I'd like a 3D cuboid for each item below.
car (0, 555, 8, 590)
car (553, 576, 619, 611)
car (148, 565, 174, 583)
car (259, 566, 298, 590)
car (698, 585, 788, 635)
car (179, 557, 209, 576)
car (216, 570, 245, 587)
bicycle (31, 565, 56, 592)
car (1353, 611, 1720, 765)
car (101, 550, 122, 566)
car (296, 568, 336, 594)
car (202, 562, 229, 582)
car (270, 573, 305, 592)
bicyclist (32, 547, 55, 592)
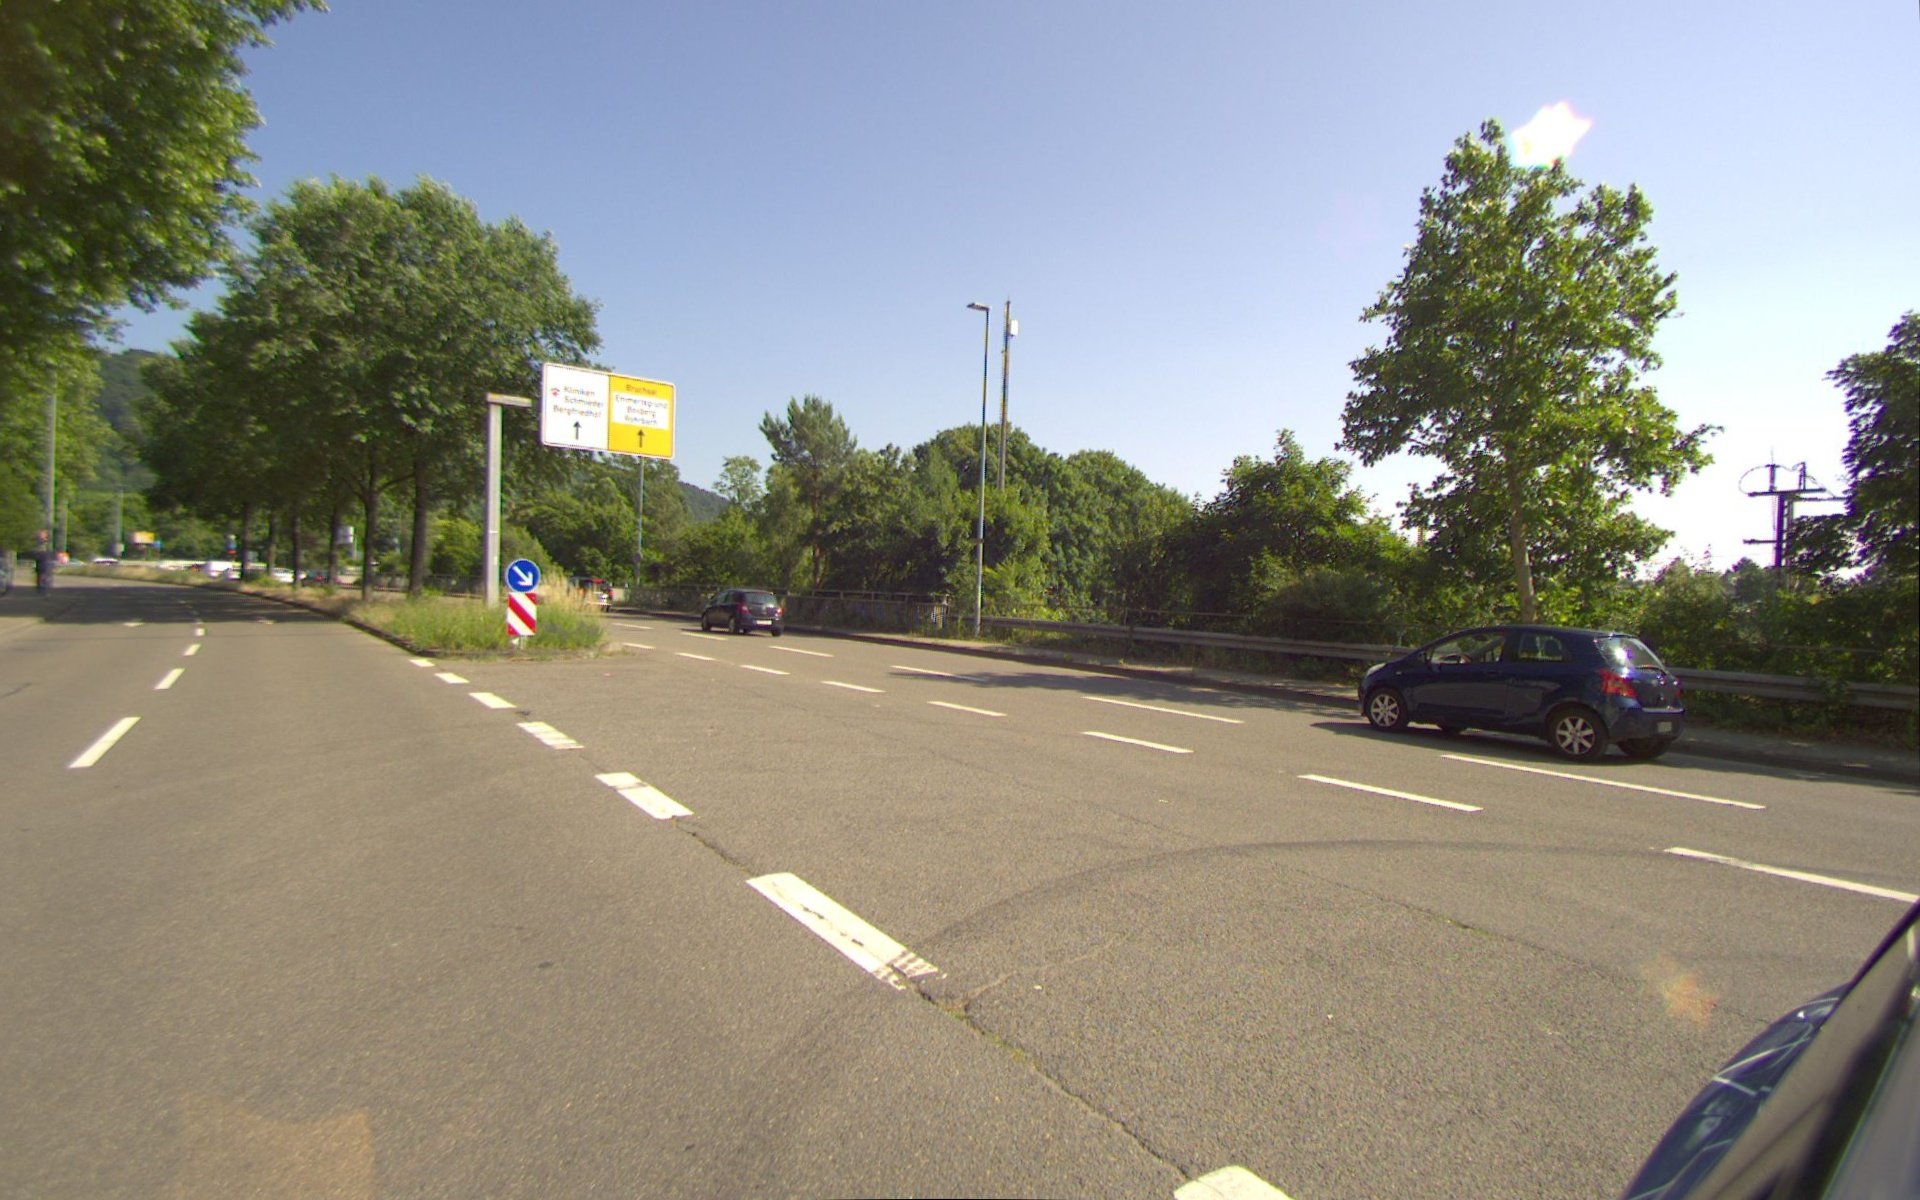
[{"bbox_3d":[-48.602,-1.393,50.270,3.988,1.701,1.747,2,0,44],"label":"car"},{"bbox_3d":[-19.022,-0.345,51.347,1.888,1.685,4.309,2,0,-38],"label":"car"},{"bbox_3d":[-83.340,-2.719,105.523,3.581,1.834,1.608,2,0,44],"label":"car"},{"bbox_3d":[-58.871,-1.899,87.416,3.988,1.915,1.968,2,0,44],"label":"car"},{"bbox_3d":[-7.096,0.297,32.863,1.649,1.488,3.578,2,0,-34],"label":"car"},{"bbox_3d":[-87.636,-3.837,115.755,3.986,1.891,1.969,2,-1,43],"label":"car"},{"bbox_3d":[-69.546,-2.065,96.418,3.670,1.514,1.608,2,0,44],"label":"car"},{"bbox_3d":[-39.882,-0.938,44.020,1.797,1.136,0.651,2,0,43],"label":"bicycle"},{"bbox_3d":[7.030,0.992,12.712,1.613,1.519,3.653,4,-1,-31],"label":"car"},{"bbox_3d":[-103.911,-5.095,123.941,3.581,1.834,1.608,2,0,44],"label":"car"},{"bbox_3d":[-50.325,-1.508,79.067,1.966,1.915,3.993,2,0,-42],"label":"car"},{"bbox_3d":[-74.377,-2.794,101.104,3.670,1.939,1.608,2,1,45],"label":"car"},{"bbox_3d":[-63.548,-1.699,95.670,3.988,1.698,1.968,2,0,45],"label":"car"},{"bbox_3d":[-39.903,-1.335,44.057,0.836,1.918,0.638,1,0,44],"label":"bicyclist"}]
